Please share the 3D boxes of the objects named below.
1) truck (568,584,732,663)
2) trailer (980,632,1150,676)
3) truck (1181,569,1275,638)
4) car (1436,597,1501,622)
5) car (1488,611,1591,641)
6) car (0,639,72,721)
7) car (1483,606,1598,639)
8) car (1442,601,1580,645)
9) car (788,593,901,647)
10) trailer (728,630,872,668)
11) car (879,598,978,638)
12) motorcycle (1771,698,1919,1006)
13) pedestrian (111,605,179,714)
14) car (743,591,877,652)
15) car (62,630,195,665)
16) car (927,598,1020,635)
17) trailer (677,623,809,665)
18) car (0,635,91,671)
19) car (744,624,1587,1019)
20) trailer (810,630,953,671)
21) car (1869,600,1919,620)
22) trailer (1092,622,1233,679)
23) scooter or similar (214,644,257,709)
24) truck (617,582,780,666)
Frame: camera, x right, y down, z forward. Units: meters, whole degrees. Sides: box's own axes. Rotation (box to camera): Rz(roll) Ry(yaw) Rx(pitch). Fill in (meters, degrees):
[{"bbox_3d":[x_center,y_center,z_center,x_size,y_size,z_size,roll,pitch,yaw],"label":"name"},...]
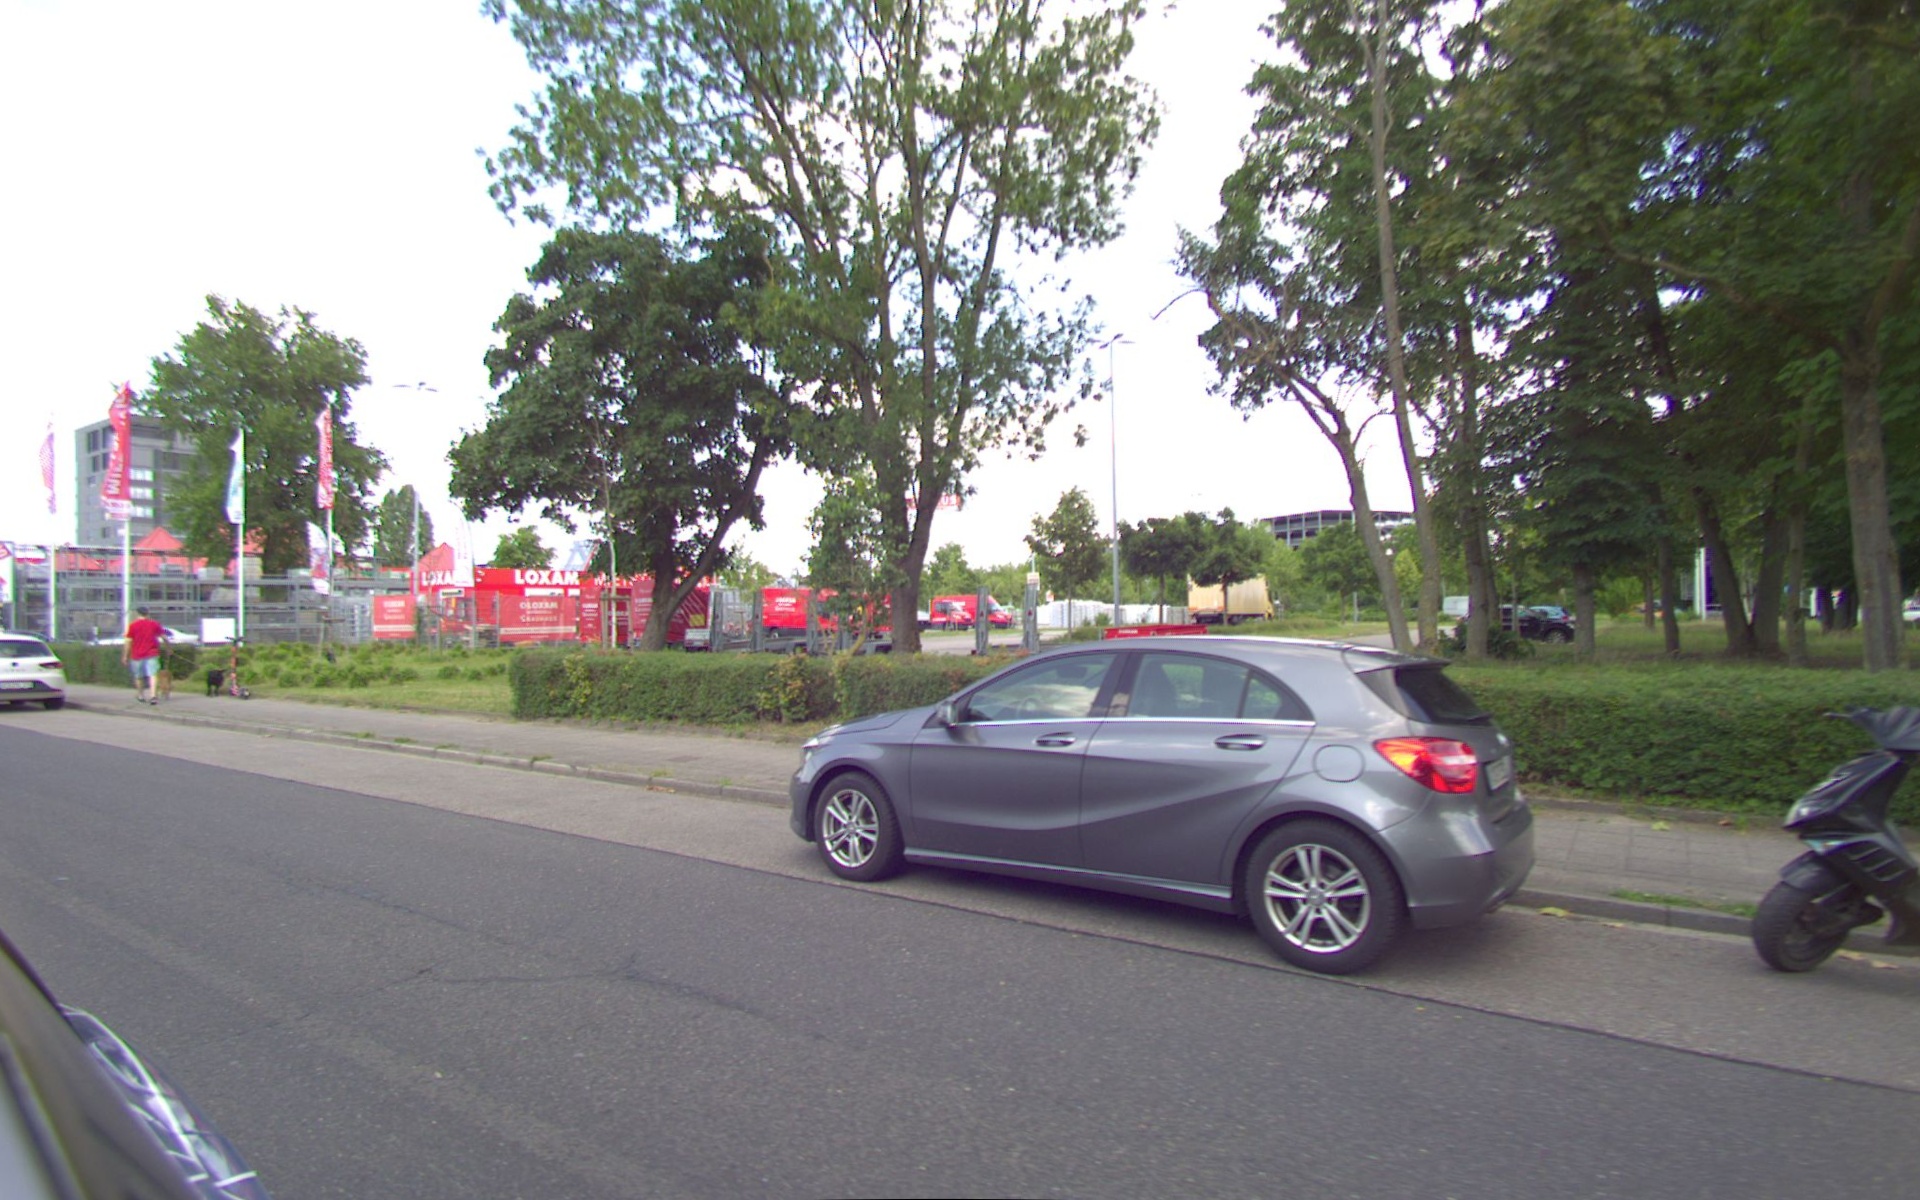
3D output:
[{"bbox_3d":[-10.992,0.779,36.372,1.812,2.613,5.702,0,0,37],"label":"truck"},{"bbox_3d":[2.777,1.342,25.986,2.186,0.920,4.548,-2,-2,40],"label":"trailer"},{"bbox_3d":[16.775,0.208,62.857,2.981,3.979,8.251,0,0,35],"label":"truck"},{"bbox_3d":[52.035,0.939,103.728,2.325,2.461,5.929,-1,-1,-21],"label":"car"},{"bbox_3d":[29.366,1.296,51.309,4.401,1.423,1.976,-1,-1,35],"label":"car"},{"bbox_3d":[-19.156,1.505,19.712,4.224,1.490,1.750,-2,-4,34],"label":"car"},{"bbox_3d":[26.555,1.015,46.322,4.401,1.423,1.976,-1,-1,35],"label":"car"},{"bbox_3d":[20.218,0.826,37.210,4.346,1.523,1.555,-1,-1,35],"label":"car"},{"bbox_3d":[-5.952,0.958,51.773,5.711,2.613,2.246,1,0,36],"label":"car"},{"bbox_3d":[-4.851,1.459,31.213,2.153,0.919,4.200,1,0,33],"label":"trailer"},{"bbox_3d":[-2.125,1.106,66.112,6.423,2.433,2.247,1,0,35],"label":"car"},{"bbox_3d":[4.286,0.989,3.856,1.799,1.147,0.615,-2,-4,36],"label":"motorcycle"},{"bbox_3d":[-15.680,1.117,19.471,0.883,2.029,0.802,-1,-1,34],"label":"pedestrian"},{"bbox_3d":[-7.048,0.922,47.030,6.425,2.613,2.246,1,0,36],"label":"car"},{"bbox_3d":[-40.097,2.261,48.911,1.950,1.465,4.642,-2,-1,36],"label":"car"},{"bbox_3d":[0.883,1.110,71.444,6.423,2.433,2.247,1,0,35],"label":"car"},{"bbox_3d":[-6.886,1.379,32.506,1.667,1.129,4.201,1,0,33],"label":"trailer"},{"bbox_3d":[-39.176,2.204,42.002,1.922,1.387,4.335,-2,-1,30],"label":"car"},{"bbox_3d":[0.900,0.897,5.681,4.323,1.431,1.694,-2,-4,37],"label":"car"},{"bbox_3d":[-2.176,1.412,29.142,2.017,0.919,4.200,1,0,33],"label":"trailer"},{"bbox_3d":[72.321,0.772,77.256,1.842,1.515,3.923,-1,-1,-22],"label":"car"},{"bbox_3d":[4.982,1.179,24.560,1.714,1.200,3.778,-2,-2,40],"label":"trailer"},{"bbox_3d":[-14.317,1.496,19.988,0.511,1.202,1.281,-1,0,-44],"label":"scooter or similar"},{"bbox_3d":[-8.677,0.729,34.122,1.775,2.613,5.499,0,0,35],"label":"truck"}]
